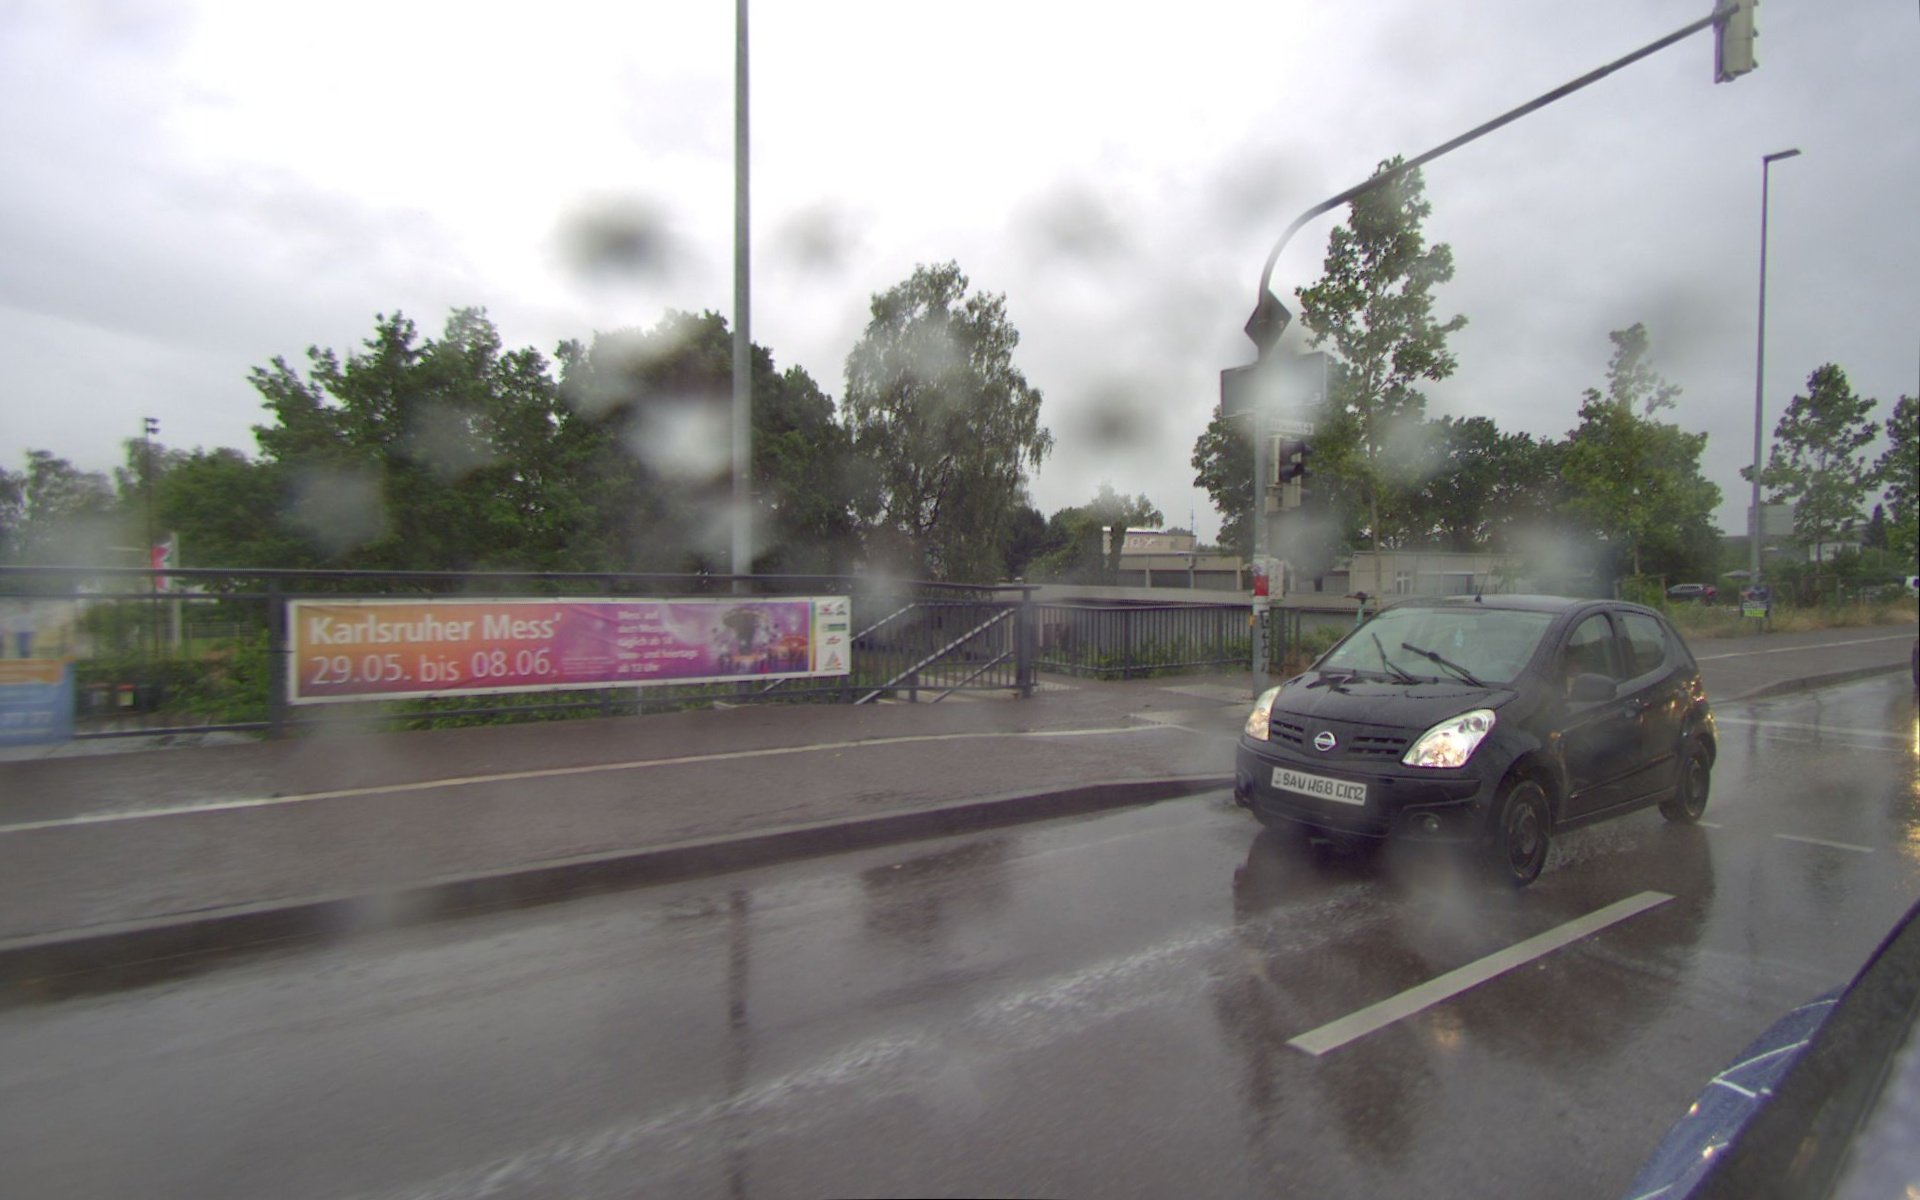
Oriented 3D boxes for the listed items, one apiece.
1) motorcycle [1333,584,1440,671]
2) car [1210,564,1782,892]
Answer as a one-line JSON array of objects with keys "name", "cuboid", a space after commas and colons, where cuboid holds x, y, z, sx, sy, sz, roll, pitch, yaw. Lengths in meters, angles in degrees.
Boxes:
[{"name": "motorcycle", "cuboid": [6.341, 0.397, 15.051, 1.417, 1.233, 0.635, 1, 2, -24]}, {"name": "car", "cuboid": [3.597, 0.593, 6.510, 4.017, 1.480, 1.776, 1, -1, -38]}]
